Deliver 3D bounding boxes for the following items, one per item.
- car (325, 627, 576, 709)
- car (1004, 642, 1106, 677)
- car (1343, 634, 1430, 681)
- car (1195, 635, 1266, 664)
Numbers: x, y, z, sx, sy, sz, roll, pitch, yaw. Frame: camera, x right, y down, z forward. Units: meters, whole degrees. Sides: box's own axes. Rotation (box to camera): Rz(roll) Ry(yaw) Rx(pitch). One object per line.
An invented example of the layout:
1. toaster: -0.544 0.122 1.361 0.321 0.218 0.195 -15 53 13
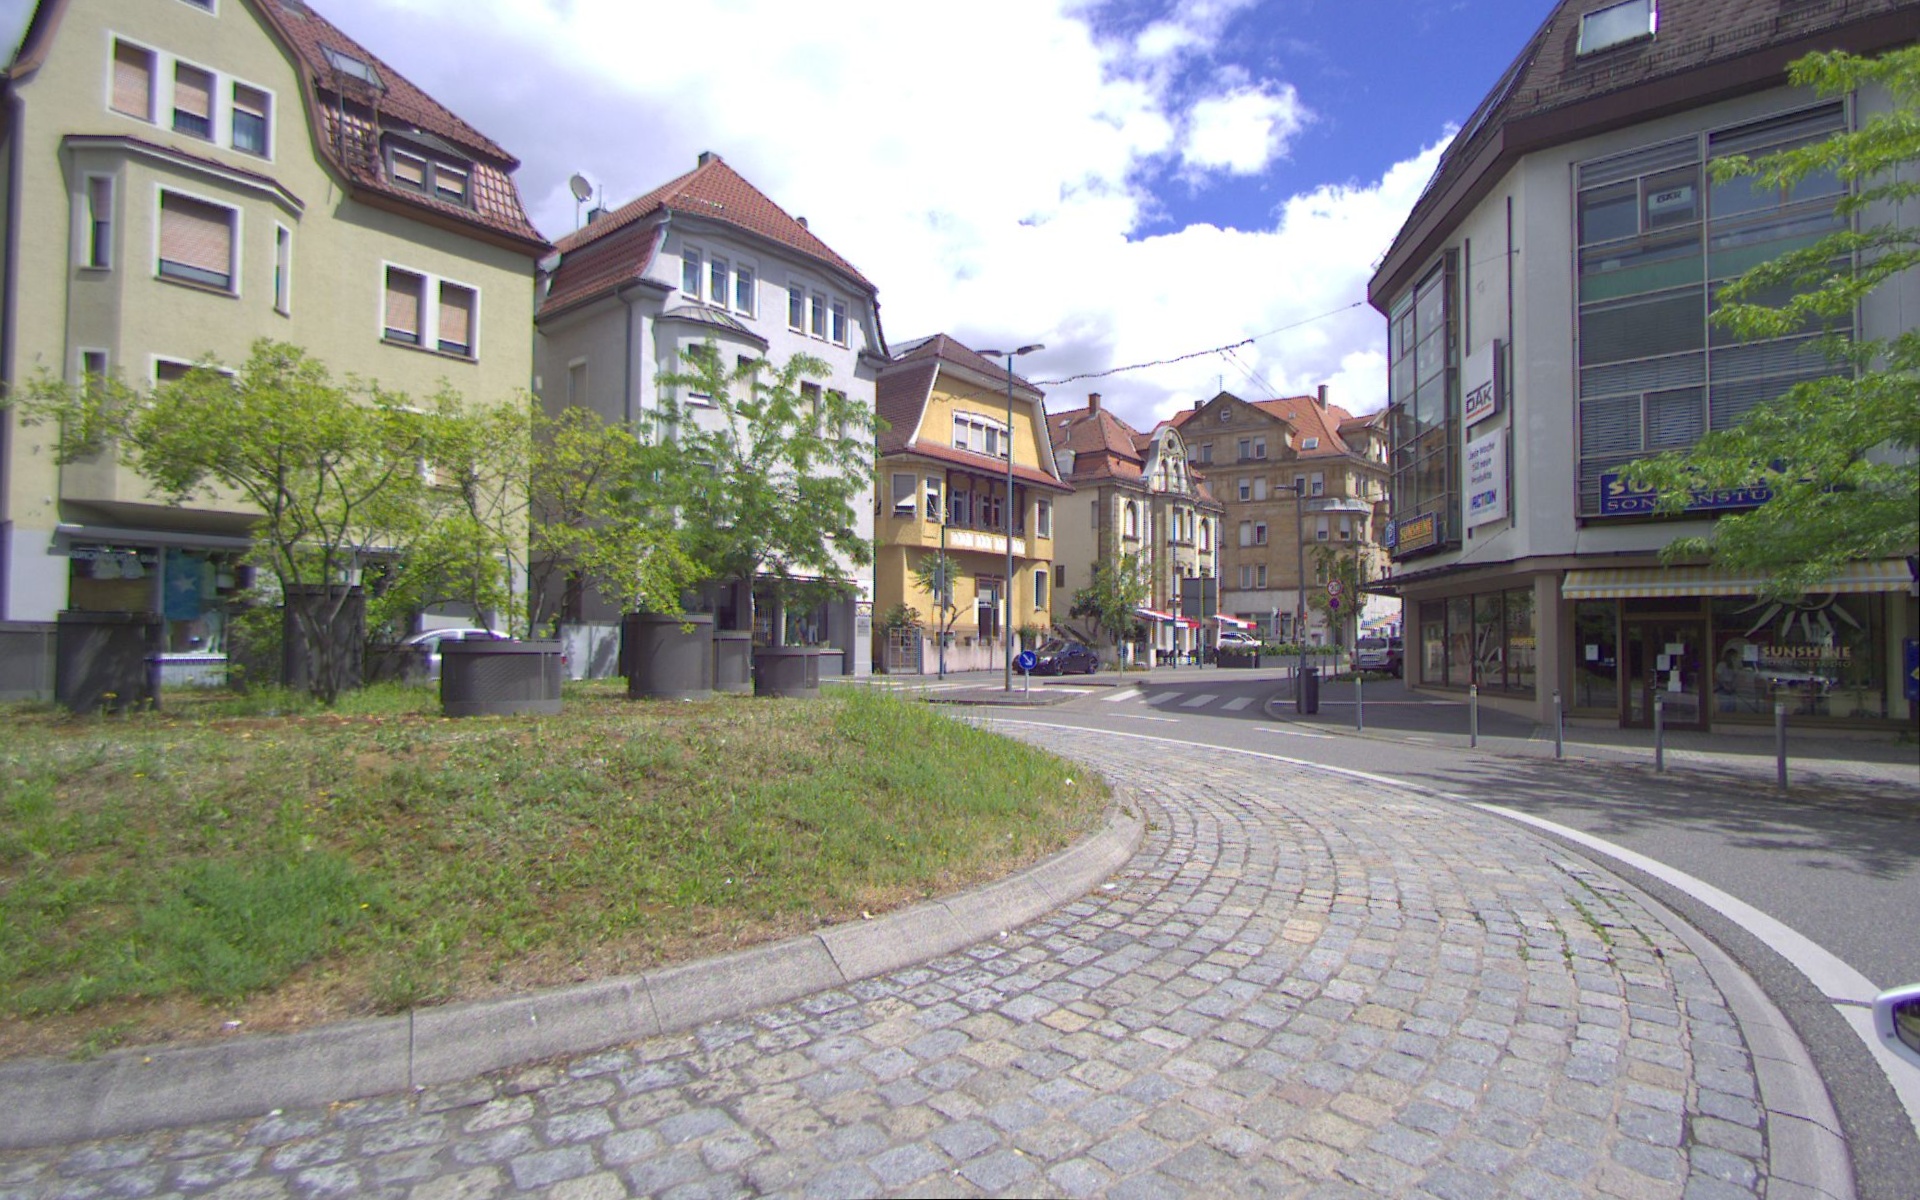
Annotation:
1. car: -9.549 1.254 18.976 3.964 1.372 1.697 3 -2 -38
2. car: 3.762 2.279 39.041 1.690 1.261 4.388 -1 -2 42
3. car: 17.092 2.297 40.158 1.805 1.753 4.208 -3 -4 44
4. car: 18.244 3.316 67.730 4.349 1.799 1.999 0 -2 25
